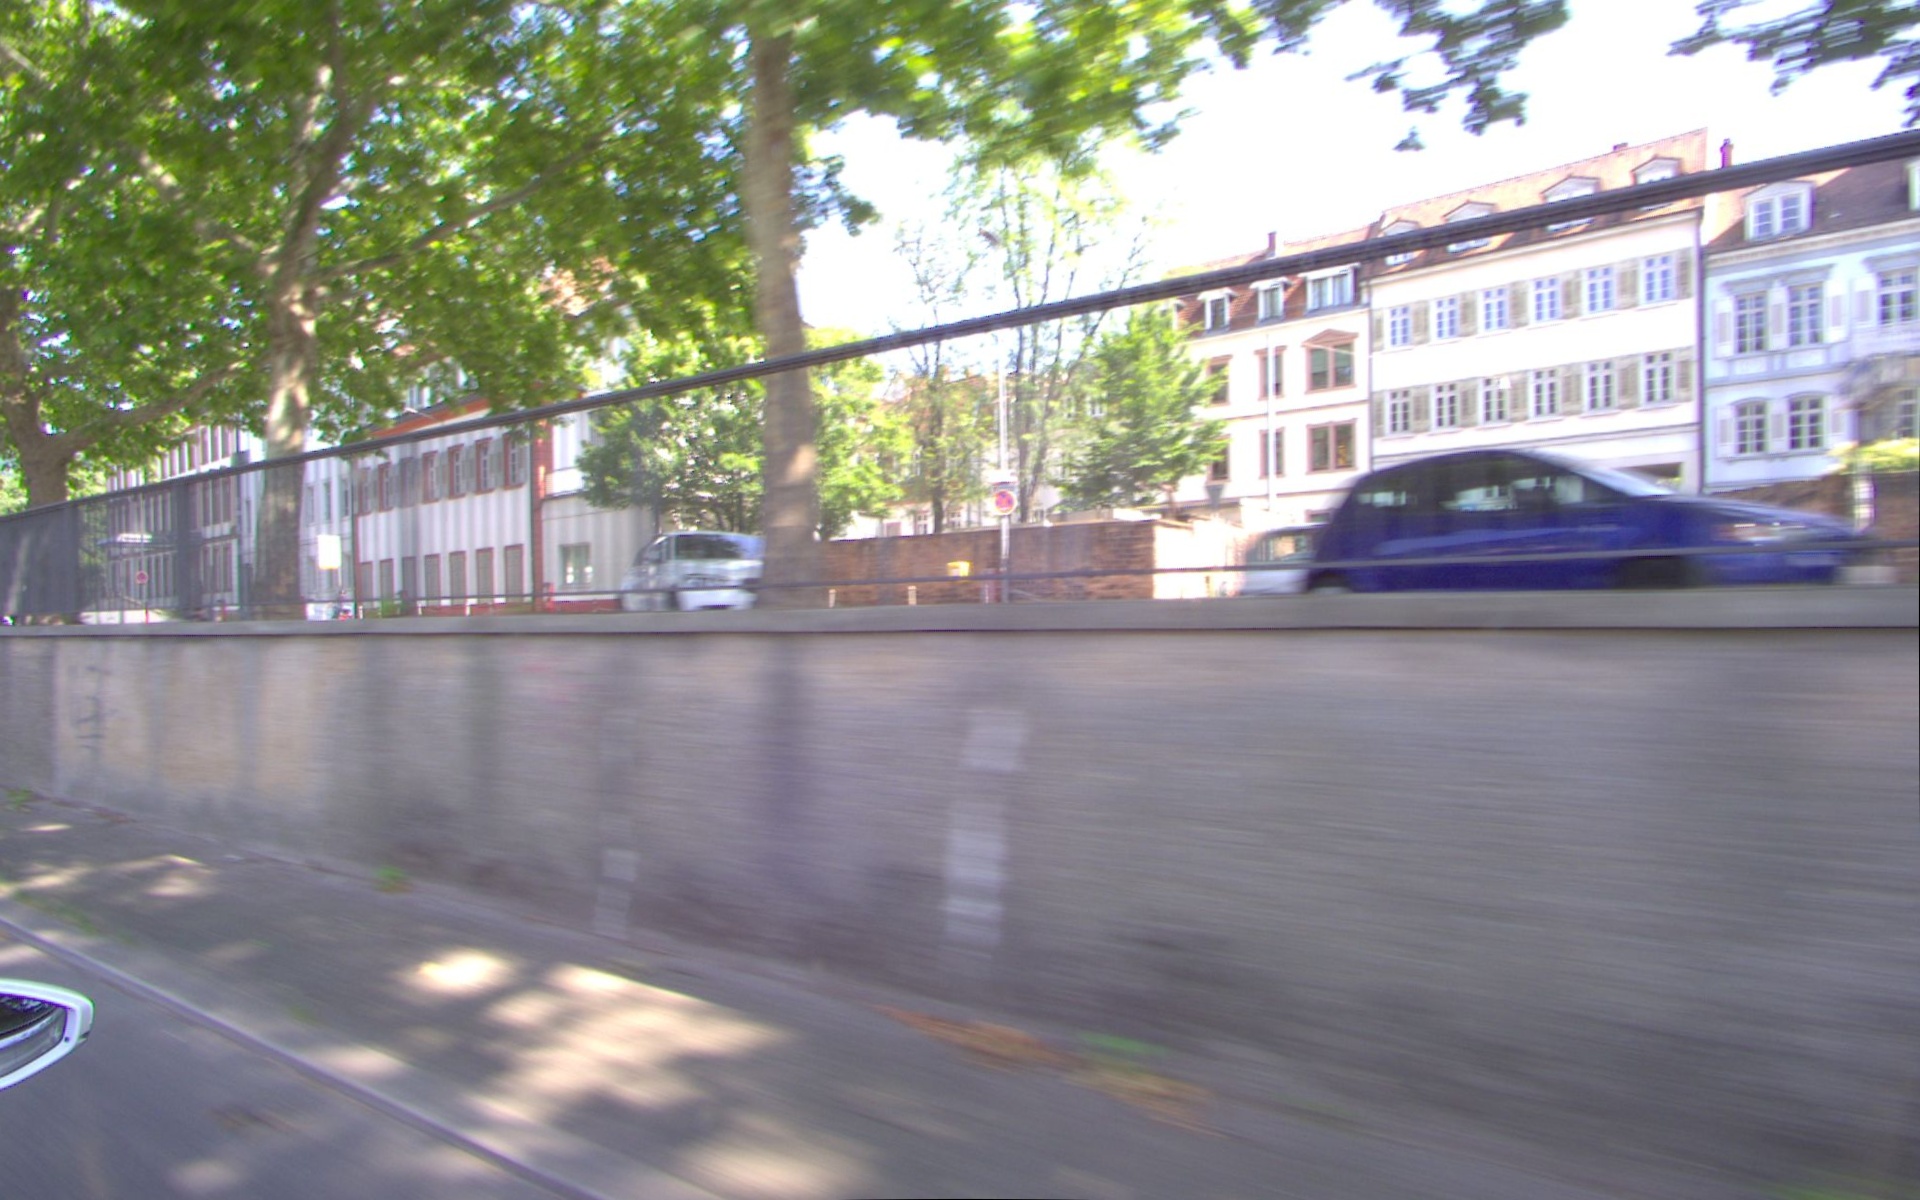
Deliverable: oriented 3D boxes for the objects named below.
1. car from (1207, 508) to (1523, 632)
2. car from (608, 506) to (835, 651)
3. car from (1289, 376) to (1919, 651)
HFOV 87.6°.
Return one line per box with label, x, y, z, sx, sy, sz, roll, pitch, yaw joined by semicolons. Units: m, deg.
car;5.428;-0.367;13.491;3.666;1.447;1.868;-1;2;33
car;-3.124;-0.170;12.496;1.754;1.488;3.981;1;-1;-29
car;4.564;-0.428;7.581;1.632;1.520;3.796;0;-1;-32
